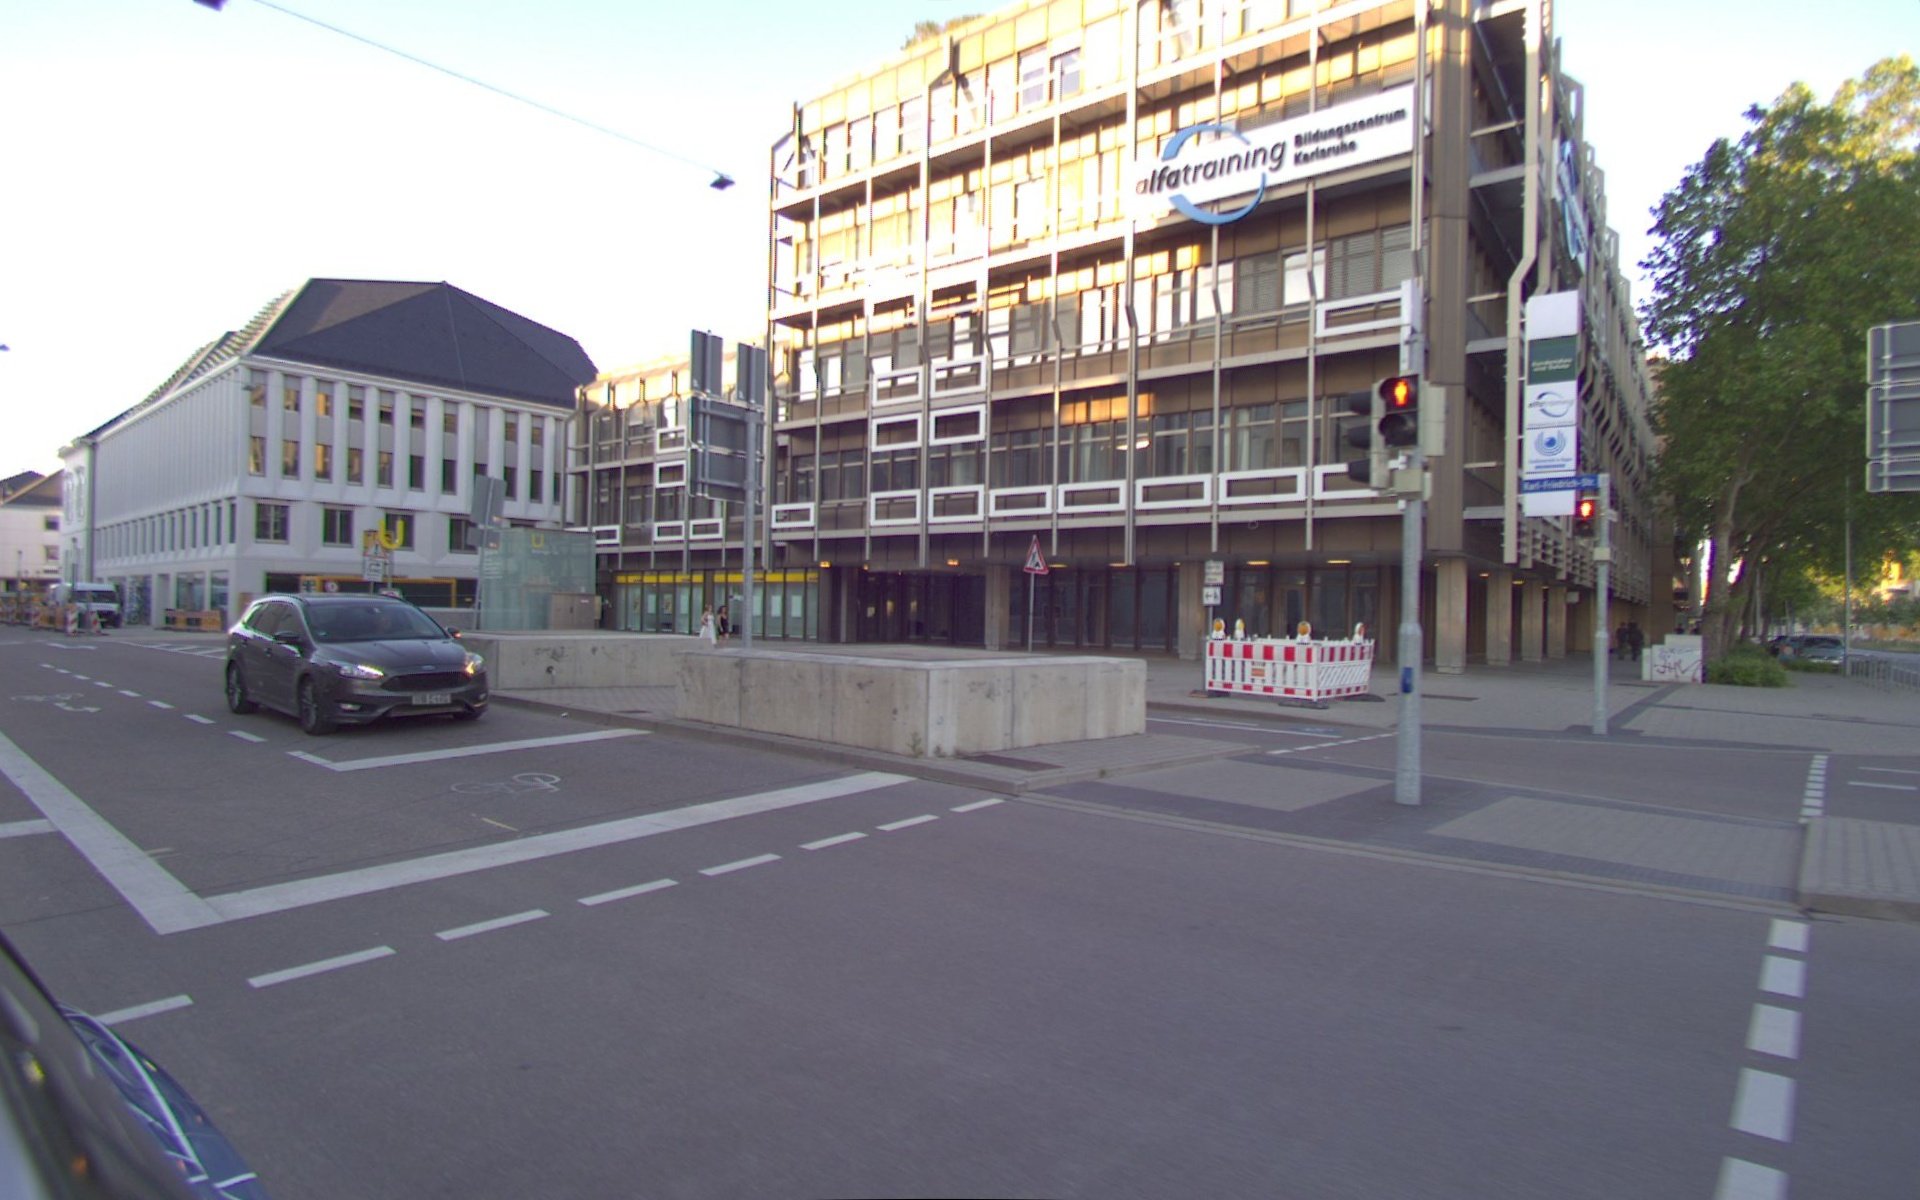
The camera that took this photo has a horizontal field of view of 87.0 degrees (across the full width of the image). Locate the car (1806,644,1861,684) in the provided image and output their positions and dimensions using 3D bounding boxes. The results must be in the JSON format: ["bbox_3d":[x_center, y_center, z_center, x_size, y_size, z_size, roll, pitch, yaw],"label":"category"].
[{"bbox_3d":[38.430,2.762,44.581,1.741,1.596,4.529,-1,-2,40],"label":"car"}]

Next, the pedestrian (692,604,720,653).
[{"bbox_3d":[-8.539,0.954,34.070,0.583,1.651,0.662,0,-1,41],"label":"pedestrian"}]

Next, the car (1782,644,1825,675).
[{"bbox_3d":[46.106,3.211,55.393,1.740,1.596,3.746,-1,-2,39],"label":"car"}]

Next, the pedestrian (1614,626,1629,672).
[{"bbox_3d":[30.093,2.214,46.013,0.516,2.029,0.575,1,1,36],"label":"pedestrian"}]

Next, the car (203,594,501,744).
[{"bbox_3d":[-7.331,0.662,12.029,4.377,1.473,1.740,0,1,40],"label":"car"}]

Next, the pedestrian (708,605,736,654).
[{"bbox_3d":[-8.116,0.991,34.542,0.702,1.651,0.608,0,-1,41],"label":"pedestrian"}]

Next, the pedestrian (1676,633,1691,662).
[{"bbox_3d":[47.942,3.154,67.078,0.755,1.819,0.713,1,1,36],"label":"pedestrian"}]

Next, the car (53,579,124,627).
[{"bbox_3d":[-48.578,0.168,56.352,6.047,2.575,2.114,0,-1,41],"label":"car"}]

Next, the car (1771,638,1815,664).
[{"bbox_3d":[53.106,3.213,64.570,1.738,1.596,4.537,-1,-2,34],"label":"car"}]

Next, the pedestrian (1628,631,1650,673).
[{"bbox_3d":[30.313,2.308,45.202,0.755,1.819,0.713,1,1,36],"label":"pedestrian"}]
